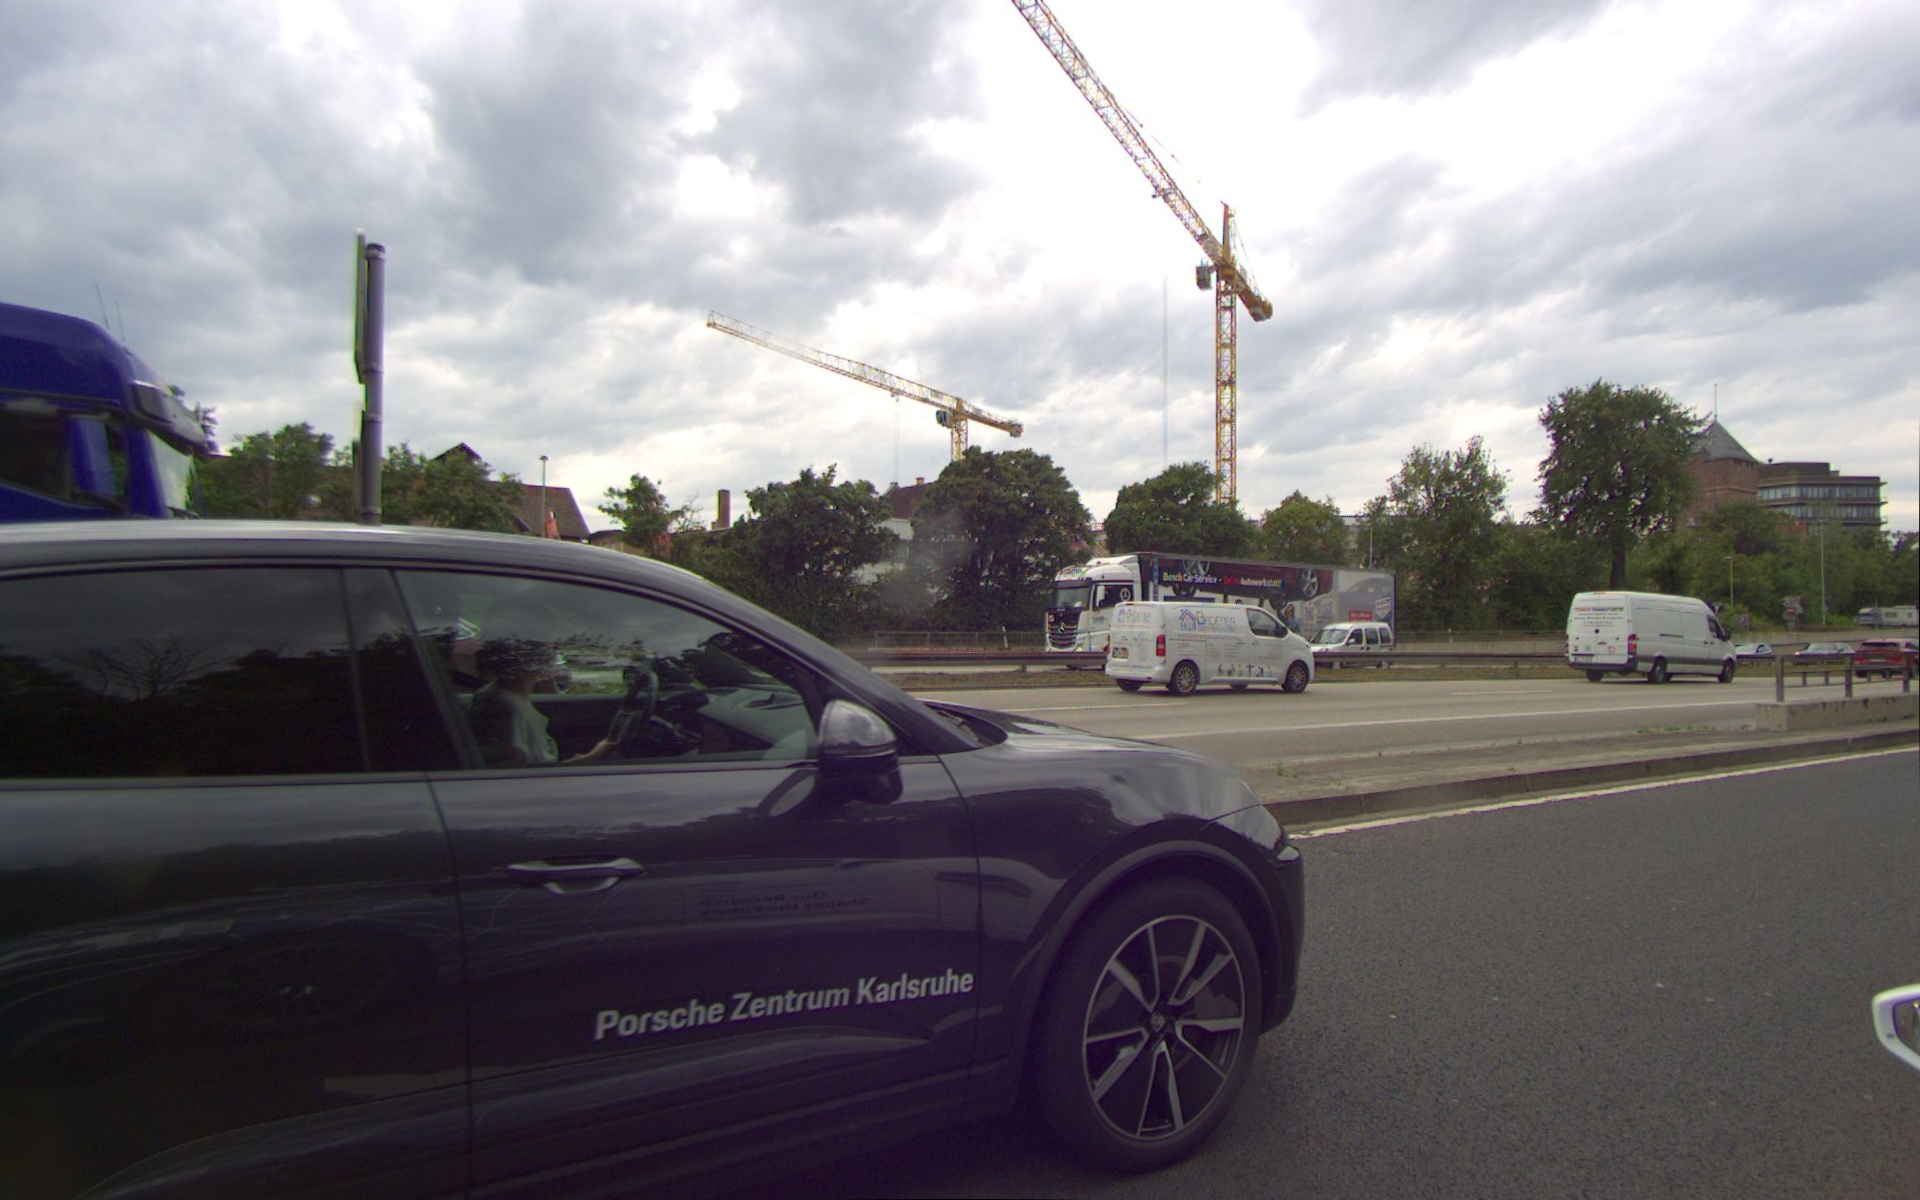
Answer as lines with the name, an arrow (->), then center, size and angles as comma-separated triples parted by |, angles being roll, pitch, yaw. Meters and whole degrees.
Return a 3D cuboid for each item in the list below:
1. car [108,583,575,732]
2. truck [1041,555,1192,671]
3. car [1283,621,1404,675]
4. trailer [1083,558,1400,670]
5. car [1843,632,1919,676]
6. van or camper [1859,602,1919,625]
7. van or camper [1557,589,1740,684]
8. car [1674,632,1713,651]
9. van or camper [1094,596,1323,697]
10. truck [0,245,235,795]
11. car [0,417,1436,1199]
car -> -7.982, 0.716, 13.516 | 5.025, 1.700, 1.776 | 1, -1, -31
truck -> 5.555, 0.492, 35.559 | 4.722, 3.818, 2.580 | 1, -1, -31
car -> 13.503, 1.665, 35.366 | 3.953, 1.789, 1.984 | 1, -1, -30
trailer -> 11.370, 0.654, 39.051 | 14.555, 3.807, 2.578 | 1, -1, -31
car -> 38.259, 2.168, 41.256 | 4.258, 1.703, 1.880 | 1, -1, -32
van or camper -> 120.055, 1.737, 129.680 | 5.549, 2.672, 1.922 | 2, 0, 15
van or camper -> 21.308, 1.112, 30.980 | 6.877, 2.656, 2.039 | 1, -1, -31
car -> 55.655, 3.172, 76.171 | 3.138, 1.393, 1.327 | 1, -1, -32
van or camper -> 5.358, 0.961, 21.458 | 4.794, 1.945, 1.911 | 1, -1, -30
truck -> -9.232, -0.608, 7.519 | 5.859, 4.014, 2.655 | 1, -1, -31
car -> -1.017, 0.618, 2.735 | 4.697, 1.685, 1.892 | 2, -1, -30
